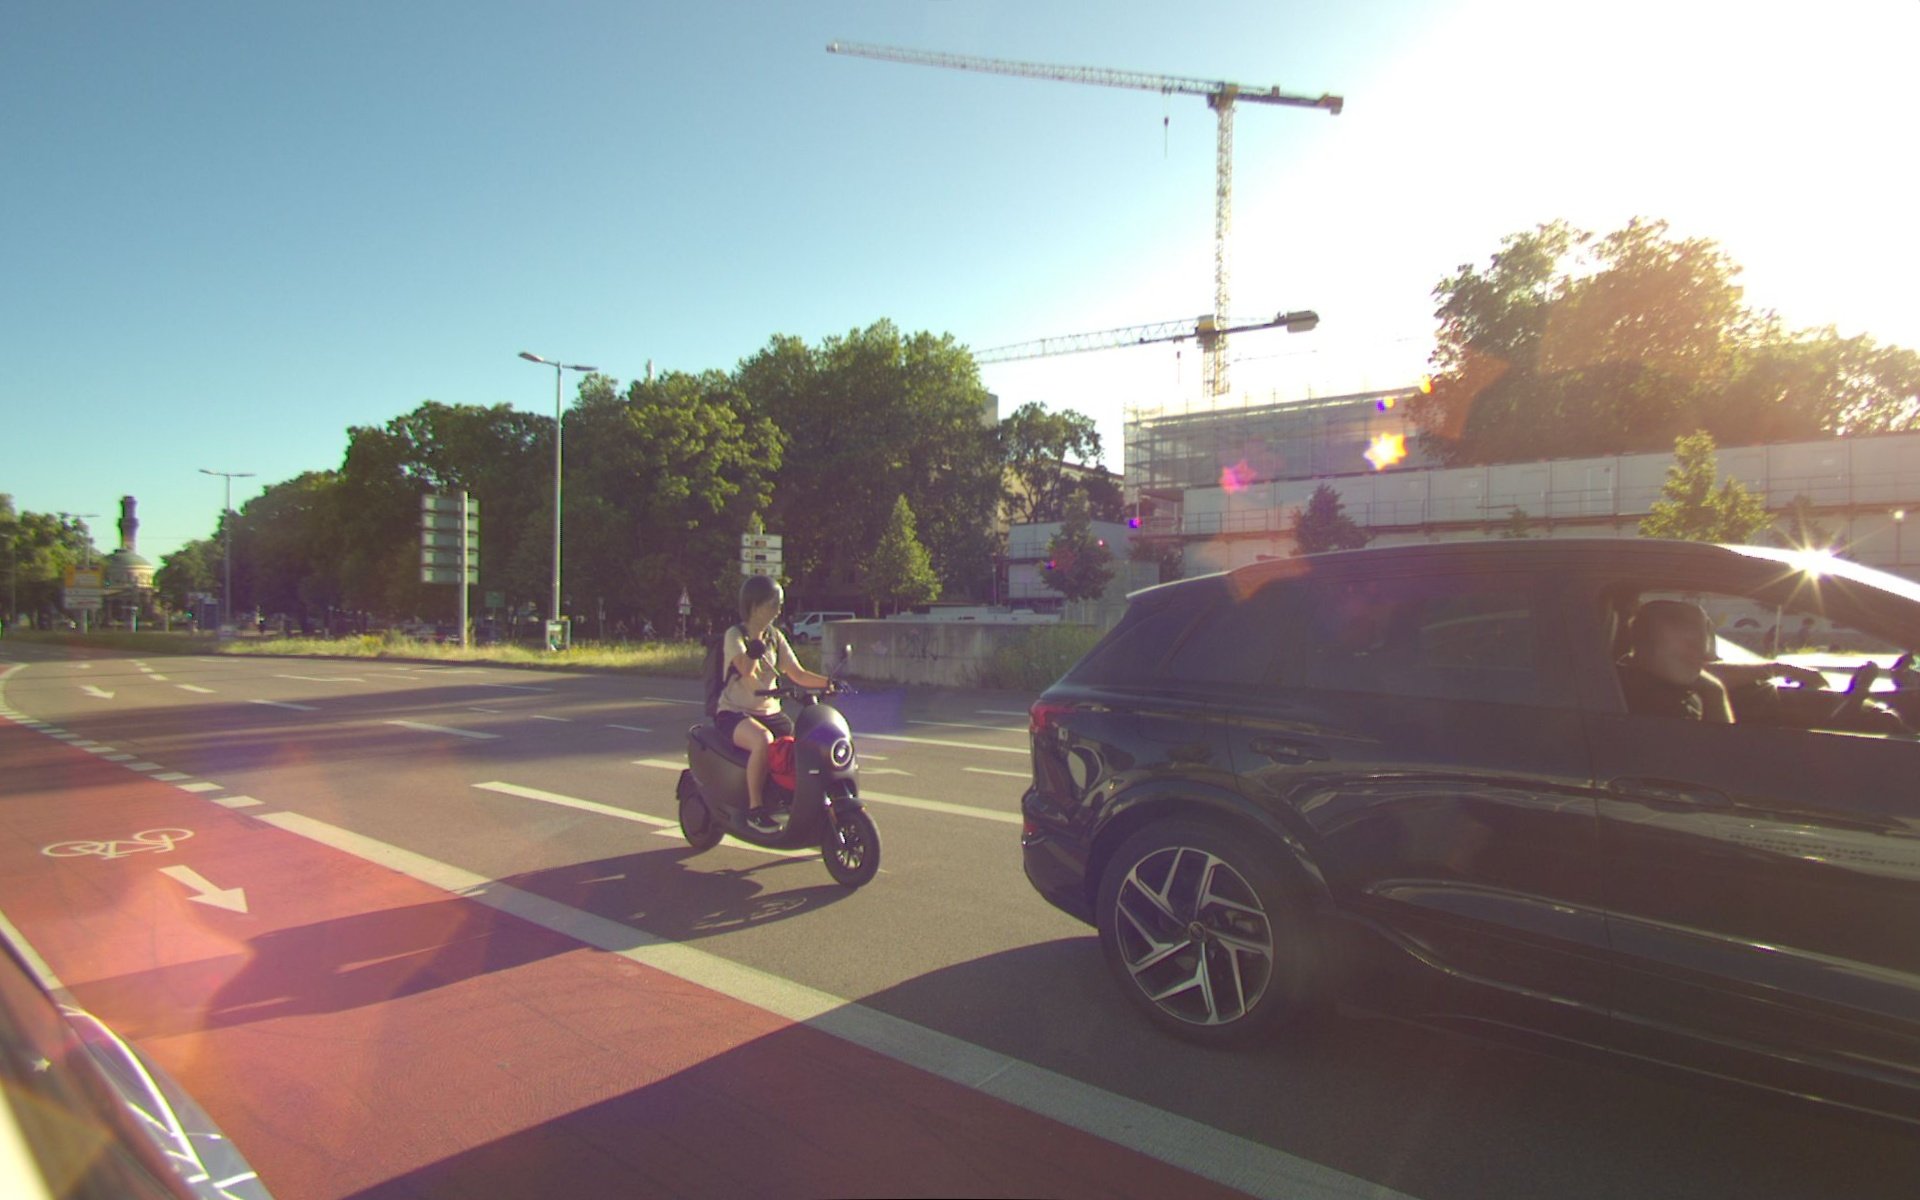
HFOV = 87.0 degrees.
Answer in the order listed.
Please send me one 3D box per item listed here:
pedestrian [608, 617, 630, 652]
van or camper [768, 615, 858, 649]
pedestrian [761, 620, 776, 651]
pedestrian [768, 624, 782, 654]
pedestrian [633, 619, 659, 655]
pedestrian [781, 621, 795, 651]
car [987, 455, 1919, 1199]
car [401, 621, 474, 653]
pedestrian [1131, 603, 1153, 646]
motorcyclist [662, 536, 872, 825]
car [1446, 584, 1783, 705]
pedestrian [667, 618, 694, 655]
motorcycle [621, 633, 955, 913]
[{"bbox_3d":[-20.136,2.026,59.795,0.948,2.029,0.836,-1,0,15],"label":"pedestrian"},{"bbox_3d":[-8.957,1.934,61.889,1.951,1.960,5.425,-2,-2,44],"label":"van or camper"},{"bbox_3d":[-9.404,1.729,49.652,0.494,1.522,0.492,-1,-2,41],"label":"pedestrian"},{"bbox_3d":[-9.187,1.939,50.366,0.494,1.522,0.492,-1,-2,41],"label":"pedestrian"},{"bbox_3d":[-17.693,2.089,57.025,1.054,1.978,0.942,-1,0,26],"label":"pedestrian"},{"bbox_3d":[-8.644,1.819,50.921,0.494,1.522,0.492,-1,-2,41],"label":"pedestrian"},{"bbox_3d":[2.577,0.548,3.177,4.660,1.720,2.144,-1,-1,40],"label":"car"},{"bbox_3d":[-25.540,1.773,49.400,3.979,1.492,1.857,-1,-2,41],"label":"car"},{"bbox_3d":[6.961,0.944,38.688,0.597,1.614,0.580,-1,0,38],"label":"pedestrian"},{"bbox_3d":[-1.096,0.422,5.776,0.877,1.475,0.813,-1,-2,41],"label":"motorcyclist"},{"bbox_3d":[11.726,0.772,18.407,4.923,1.937,1.864,-1,-2,38],"label":"car"},{"bbox_3d":[-15.233,1.995,55.134,0.815,1.978,1.111,-1,0,41],"label":"pedestrian"},{"bbox_3d":[-1.021,0.841,5.701,1.943,1.290,0.817,-1,-2,41],"label":"motorcycle"}]
